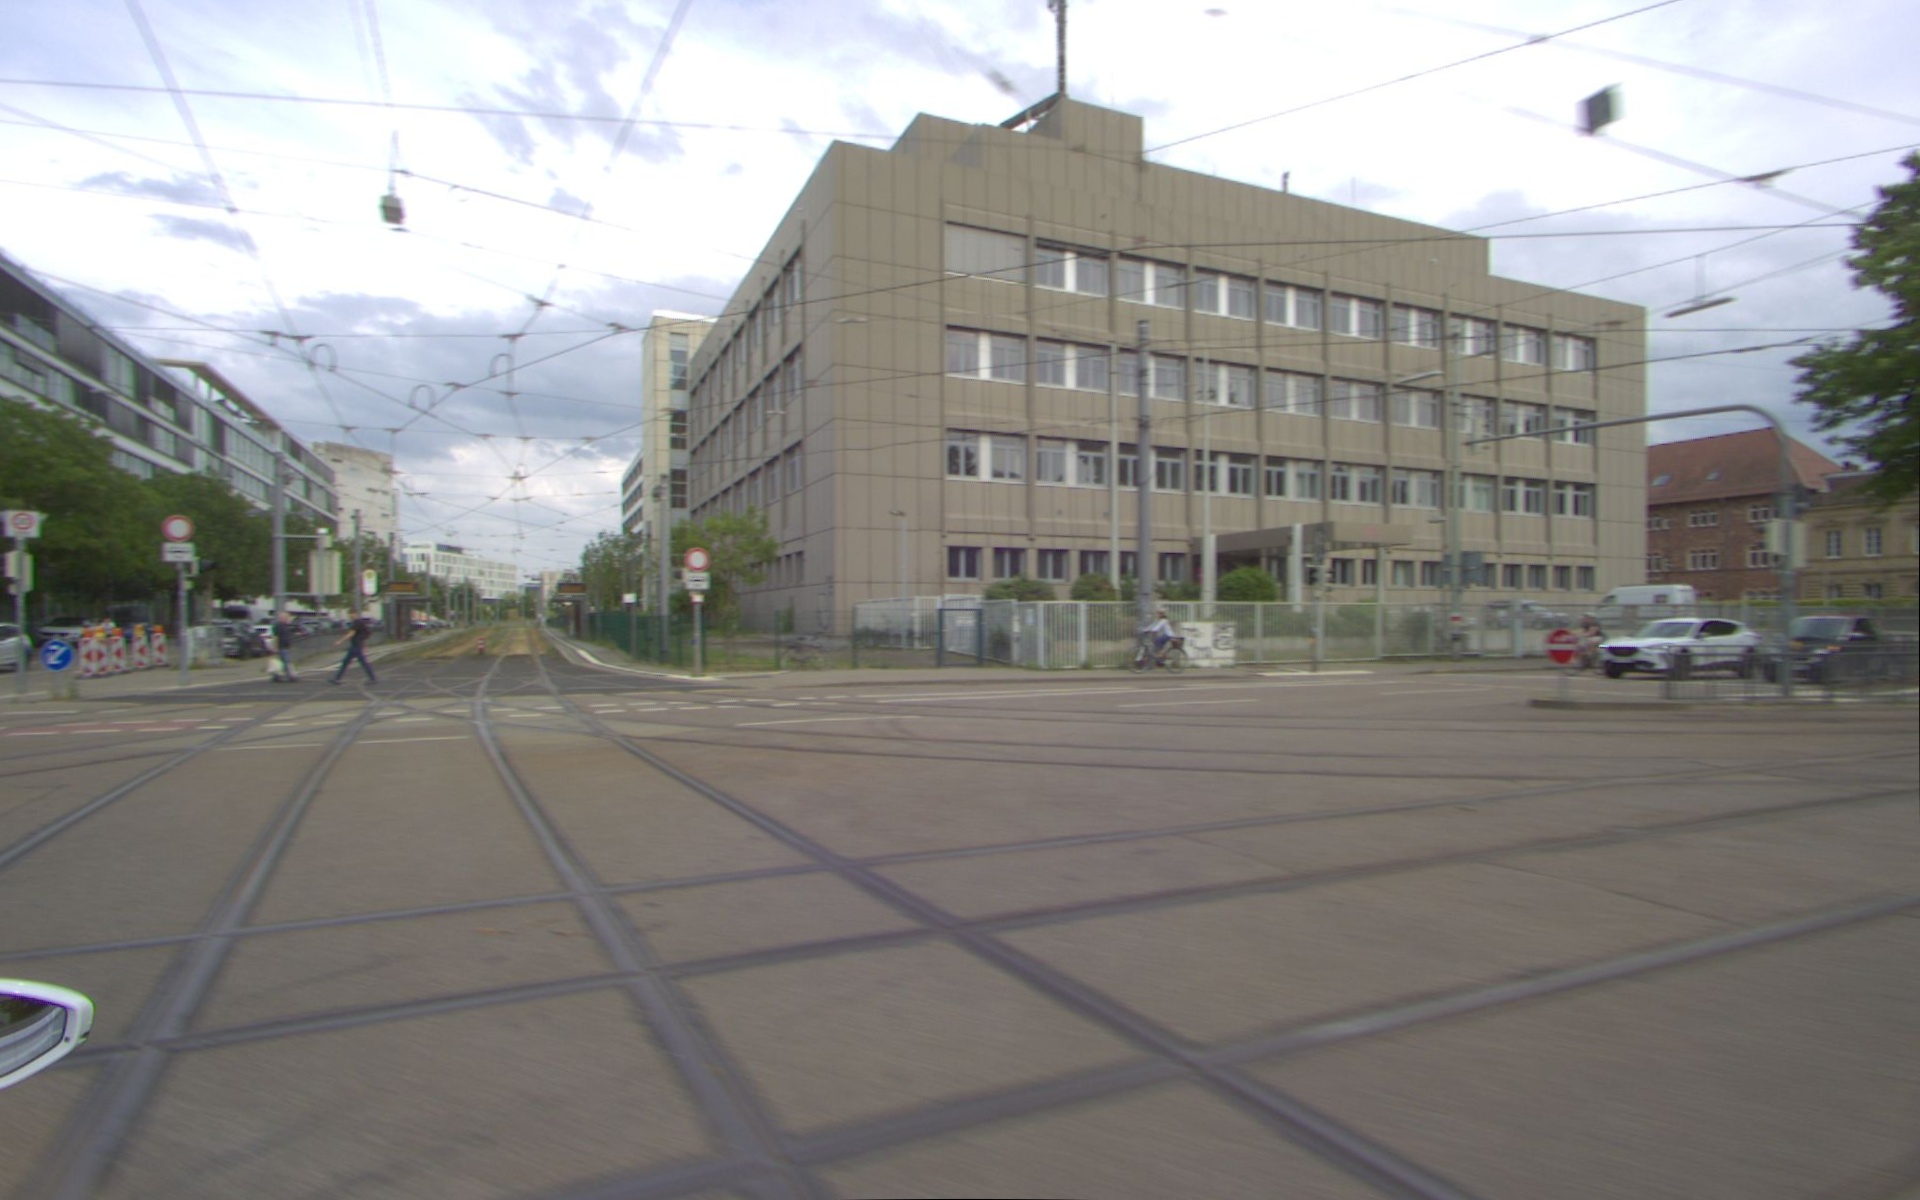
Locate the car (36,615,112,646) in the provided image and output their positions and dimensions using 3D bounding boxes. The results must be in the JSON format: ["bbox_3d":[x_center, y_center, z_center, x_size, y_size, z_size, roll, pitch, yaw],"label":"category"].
[{"bbox_3d":[-47.592,1.617,53.895,1.963,1.576,4.492,2,-2,-27],"label":"car"}]

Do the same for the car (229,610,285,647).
[{"bbox_3d":[-32.539,1.280,46.437,1.685,1.626,4.059,0,-1,-29],"label":"car"}]

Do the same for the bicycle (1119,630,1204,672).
[{"bbox_3d":[5.544,1.402,27.589,2.144,1.100,0.802,1,0,-11],"label":"bicycle"}]

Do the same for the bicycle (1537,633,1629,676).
[{"bbox_3d":[17.093,1.471,27.451,2.519,1.100,0.801,0,0,-21],"label":"bicycle"}]

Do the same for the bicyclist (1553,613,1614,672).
[{"bbox_3d":[17.091,1.142,27.443,1.306,1.570,0.801,0,0,-21],"label":"bicyclist"}]

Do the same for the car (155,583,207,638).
[{"bbox_3d":[-55.359,0.770,71.236,1.963,3.683,4.492,2,-1,-27],"label":"car"}]

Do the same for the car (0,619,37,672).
[{"bbox_3d":[-32.237,1.483,32.820,1.694,1.681,4.118,2,-2,-25],"label":"car"}]

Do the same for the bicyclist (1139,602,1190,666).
[{"bbox_3d":[5.636,0.927,27.601,1.160,1.724,0.802,1,0,-10],"label":"bicyclist"}]

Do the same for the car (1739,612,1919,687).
[{"bbox_3d":[20.204,1.070,22.856,4.345,1.587,1.832,0,-1,-20],"label":"car"}]

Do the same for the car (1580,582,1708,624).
[{"bbox_3d":[41.102,0.237,60.359,2.530,2.430,5.875,0,-1,-27],"label":"car"}]

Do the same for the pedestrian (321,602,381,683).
[{"bbox_3d":[-14.851,1.014,24.442,1.071,1.923,0.899,0,0,-20],"label":"pedestrian"}]

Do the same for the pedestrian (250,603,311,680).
[{"bbox_3d":[-17.101,1.037,25.215,0.973,1.880,0.901,0,0,-10],"label":"pedestrian"}]

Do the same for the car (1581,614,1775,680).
[{"bbox_3d":[17.918,1.127,25.003,4.348,1.524,1.994,0,-1,-23],"label":"car"}]

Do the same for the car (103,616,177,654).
[{"bbox_3d":[-39.026,1.659,47.743,1.694,1.681,4.118,2,-2,-25],"label":"car"}]

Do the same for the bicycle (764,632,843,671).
[{"bbox_3d":[-4.417,1.453,28.284,2.121,0.993,0.633,-3,-1,20],"label":"bicycle"}]

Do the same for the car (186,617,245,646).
[{"bbox_3d":[-43.683,1.859,58.848,1.880,1.605,4.166,2,-2,-25],"label":"car"}]

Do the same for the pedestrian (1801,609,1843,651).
[{"bbox_3d":[33.330,1.136,38.722,0.963,1.590,0.882,0,0,-18],"label":"pedestrian"}]

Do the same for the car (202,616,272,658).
[{"bbox_3d":[-30.061,1.502,41.736,1.858,1.649,4.067,0,-1,-29],"label":"car"}]

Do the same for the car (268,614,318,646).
[{"bbox_3d":[-35.954,1.586,54.035,1.846,1.626,4.193,0,-1,-29],"label":"car"}]
